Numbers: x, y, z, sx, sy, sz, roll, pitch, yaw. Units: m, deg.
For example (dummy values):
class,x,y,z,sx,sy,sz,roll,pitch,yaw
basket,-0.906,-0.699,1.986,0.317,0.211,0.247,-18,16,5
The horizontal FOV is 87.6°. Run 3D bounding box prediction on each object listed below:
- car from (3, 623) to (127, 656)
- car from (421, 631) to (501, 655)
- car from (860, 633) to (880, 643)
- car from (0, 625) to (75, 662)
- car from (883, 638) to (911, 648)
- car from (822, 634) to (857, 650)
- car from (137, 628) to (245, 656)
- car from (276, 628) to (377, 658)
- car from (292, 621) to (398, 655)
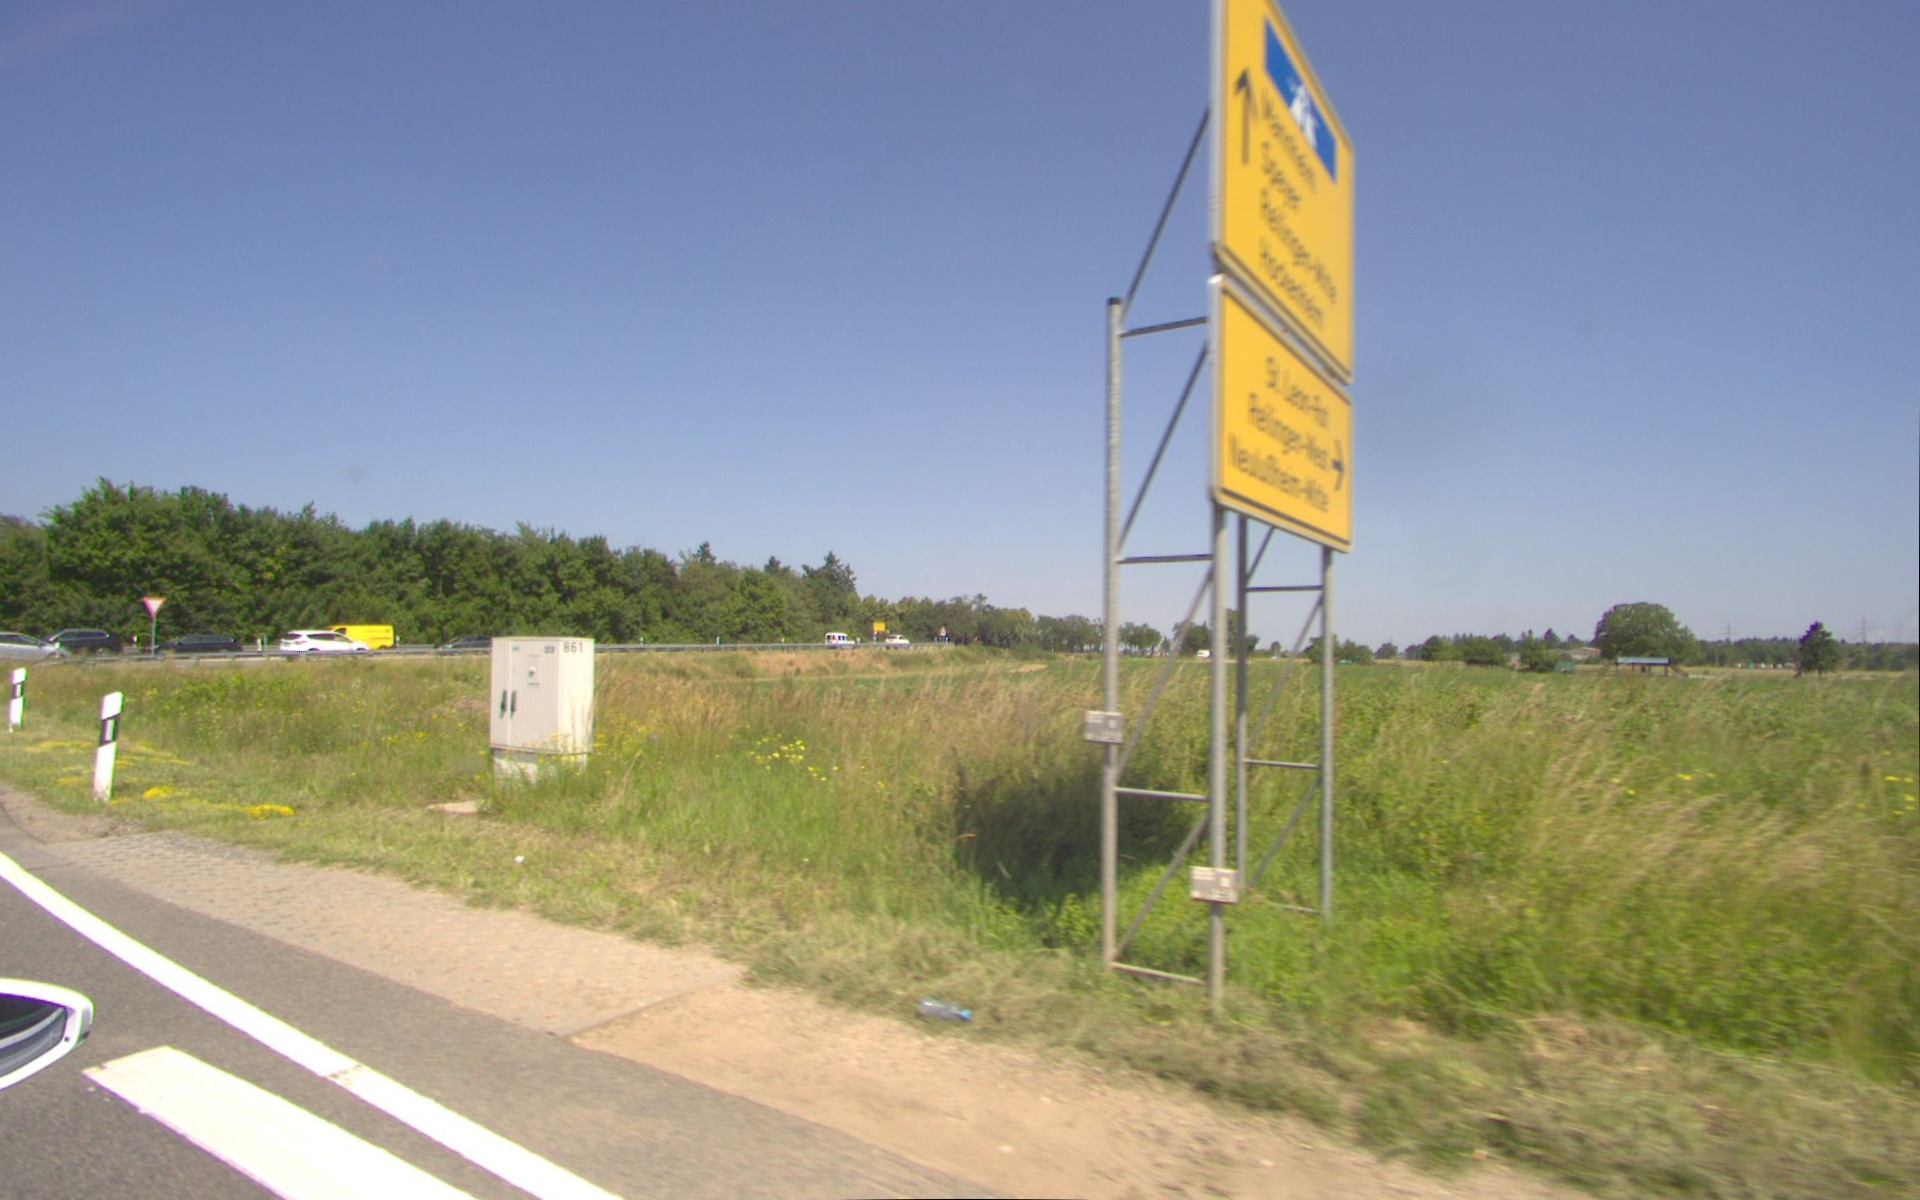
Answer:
class,x,y,z,sx,sy,sz,roll,pitch,yaw
car,-45.981,2.056,51.553,1.744,1.618,4.475,-1,-3,35
car,-34.357,2.960,69.044,1.828,1.533,4.671,-1,-3,35
car,-13.895,5.874,154.628,1.823,1.533,4.684,1,-2,-23
car,-41.100,1.882,43.503,1.715,1.586,3.674,-1,-3,33
car,-7.186,4.928,115.103,1.688,1.204,3.992,-1,-2,22
car,-12.331,4.316,102.665,1.691,1.589,3.985,-1,-2,28
car,-43.929,2.428,57.290,1.831,1.533,4.663,-2,-3,40
car,-34.755,2.347,55.048,1.711,1.586,4.472,-1,-2,24
car,-38.379,2.385,62.655,1.973,2.039,5.311,-1,-3,34
